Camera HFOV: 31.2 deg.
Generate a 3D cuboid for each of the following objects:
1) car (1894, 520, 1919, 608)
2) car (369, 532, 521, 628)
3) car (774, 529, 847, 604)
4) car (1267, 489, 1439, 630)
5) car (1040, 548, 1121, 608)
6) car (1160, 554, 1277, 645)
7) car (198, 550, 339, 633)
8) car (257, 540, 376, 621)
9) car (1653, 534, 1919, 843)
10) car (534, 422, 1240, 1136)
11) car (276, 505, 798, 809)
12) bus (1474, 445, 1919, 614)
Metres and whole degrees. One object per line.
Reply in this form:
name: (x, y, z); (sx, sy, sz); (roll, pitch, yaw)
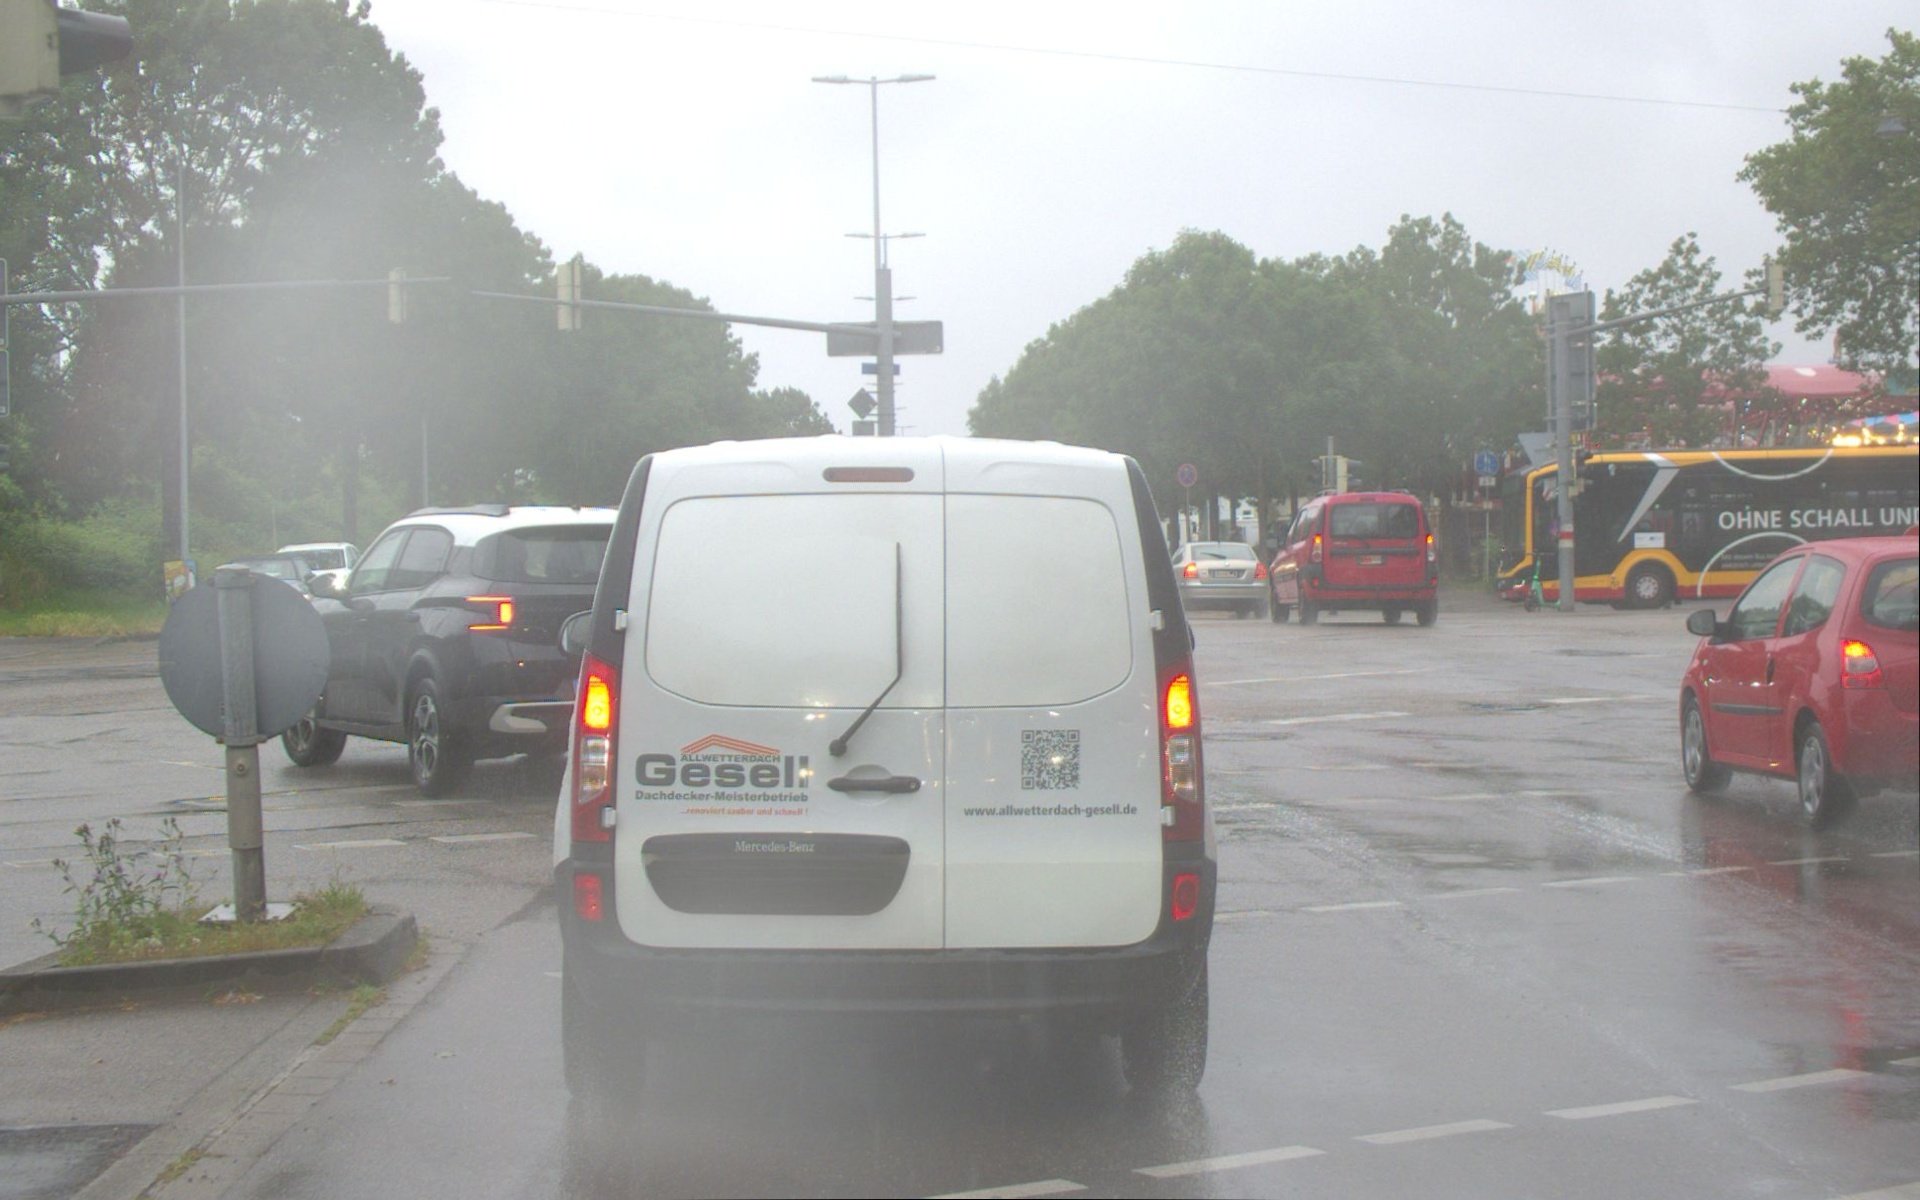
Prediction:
car: (19.780, -0.721, 64.895); (4.329, 1.645, 1.933); (-2, 1, -38)
car: (-9.375, -0.392, 62.896); (2.022, 1.651, 4.061); (-1, 1, 2)
car: (-3.600, -0.826, 82.132); (1.599, 1.714, 4.001); (-1, 1, -4)
car: (4.853, -0.514, 42.820); (1.632, 1.650, 3.485); (1, 1, -1)
car: (3.408, -0.649, 97.884); (1.996, 1.612, 4.000); (-1, 1, -2)
car: (4.771, -0.039, 63.988); (1.842, 1.612, 4.000); (1, 1, 0)
car: (-12.253, -0.170, 61.099); (1.892, 1.344, 4.001); (-1, 2, -3)
car: (-12.588, -0.408, 67.438); (1.827, 1.477, 4.001); (-1, 1, -4)
car: (4.953, 0.395, 18.349); (1.678, 1.486, 3.622); (0, 1, -1)
car: (-0.350, 0.413, 10.583); (1.755, 1.771, 4.001); (0, 1, -5)
car: (-2.637, 0.265, 20.584); (1.917, 1.603, 4.001); (-1, 1, -25)
bus: (17.037, -1.482, 71.035); (12.248, 3.257, 3.275); (-1, 1, -1)
